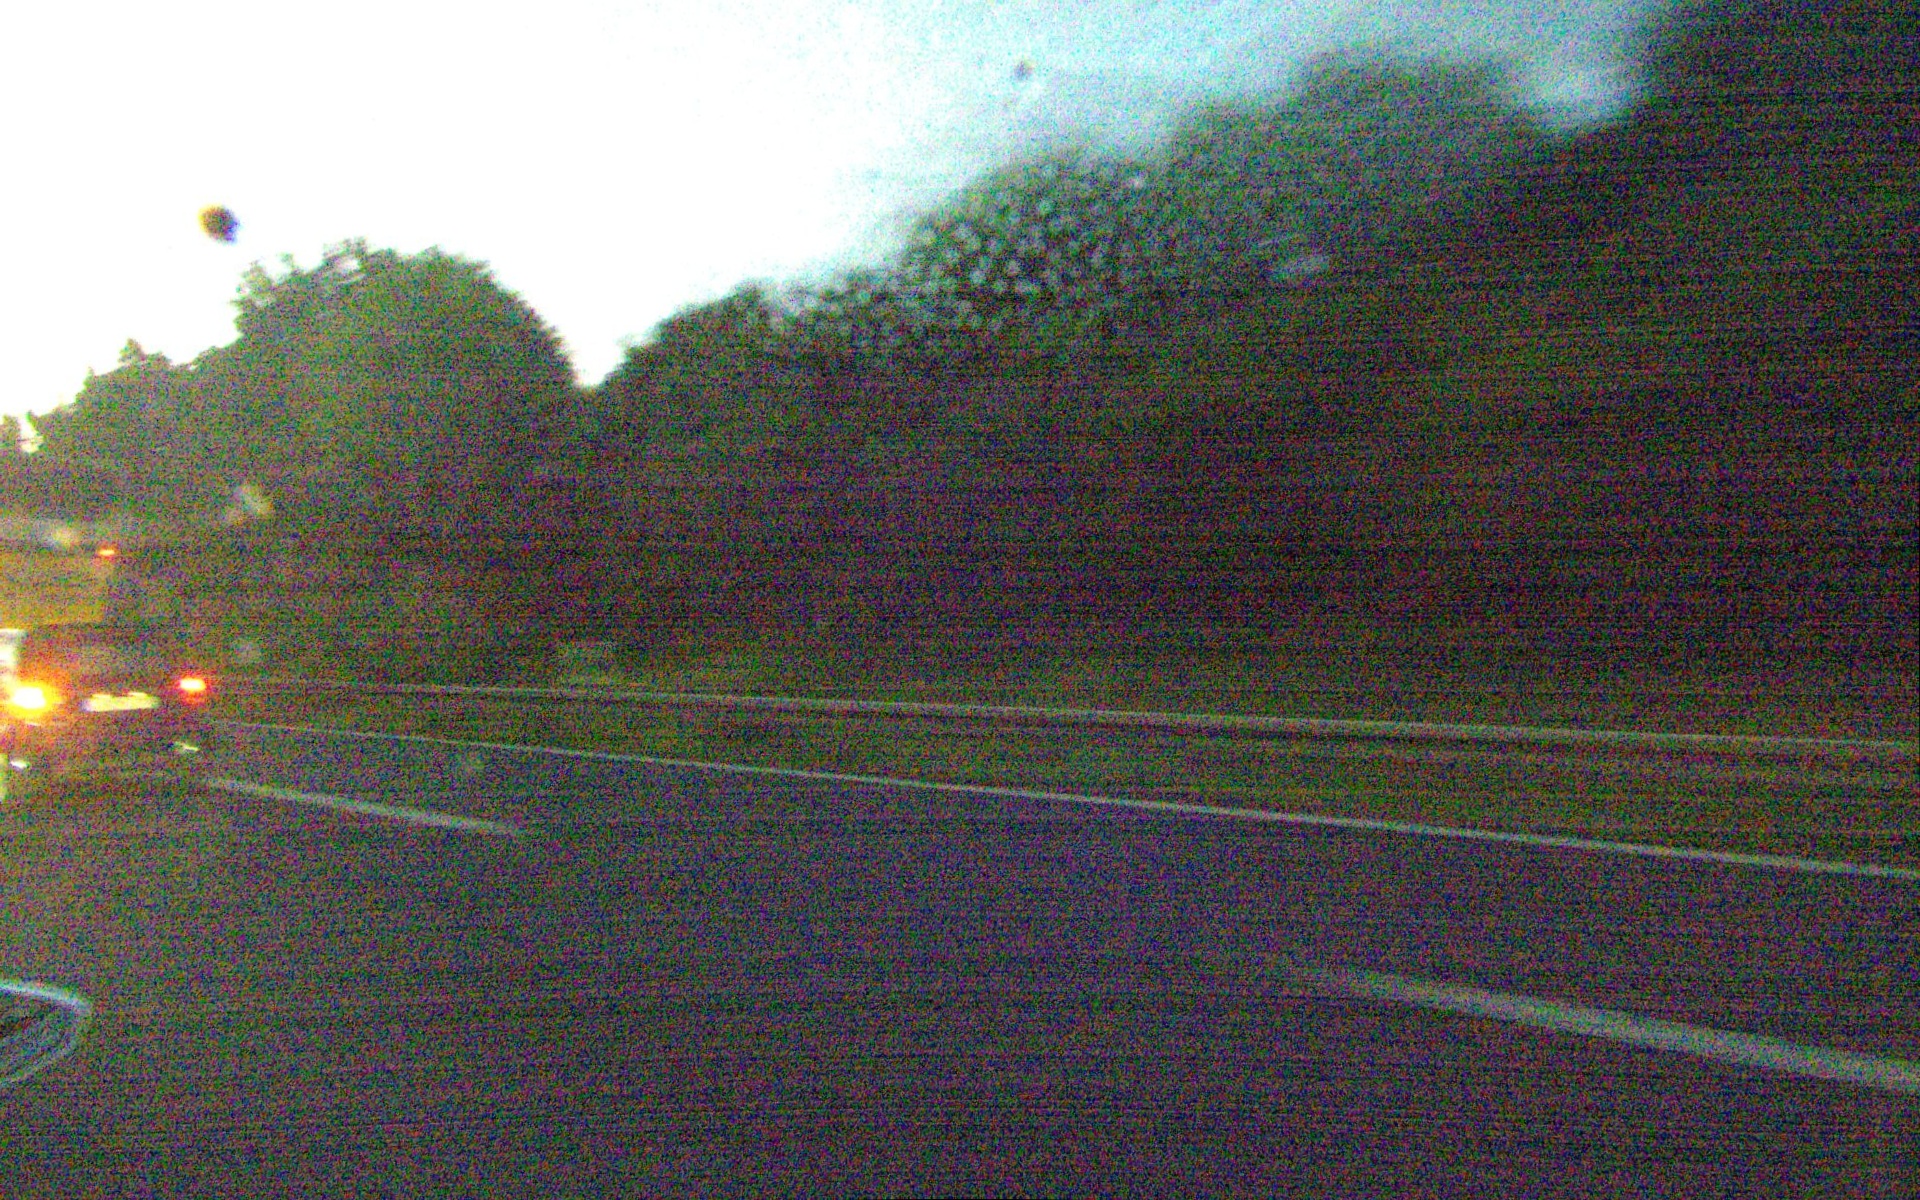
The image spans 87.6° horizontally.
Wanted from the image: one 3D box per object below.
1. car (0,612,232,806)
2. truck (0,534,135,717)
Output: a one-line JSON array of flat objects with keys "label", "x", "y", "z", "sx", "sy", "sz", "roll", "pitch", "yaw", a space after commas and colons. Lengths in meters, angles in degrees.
[{"label": "car", "x": -8.740, "y": 0.943, "z": 9.687, "sx": 3.270, "sy": 1.575, "sz": 1.608, "roll": -2, "pitch": -1, "yaw": 31}, {"label": "truck", "x": -18.325, "y": 0.512, "z": 18.839, "sx": 6.536, "sy": 3.008, "sz": 2.266, "roll": -1, "pitch": -3, "yaw": 32}]
